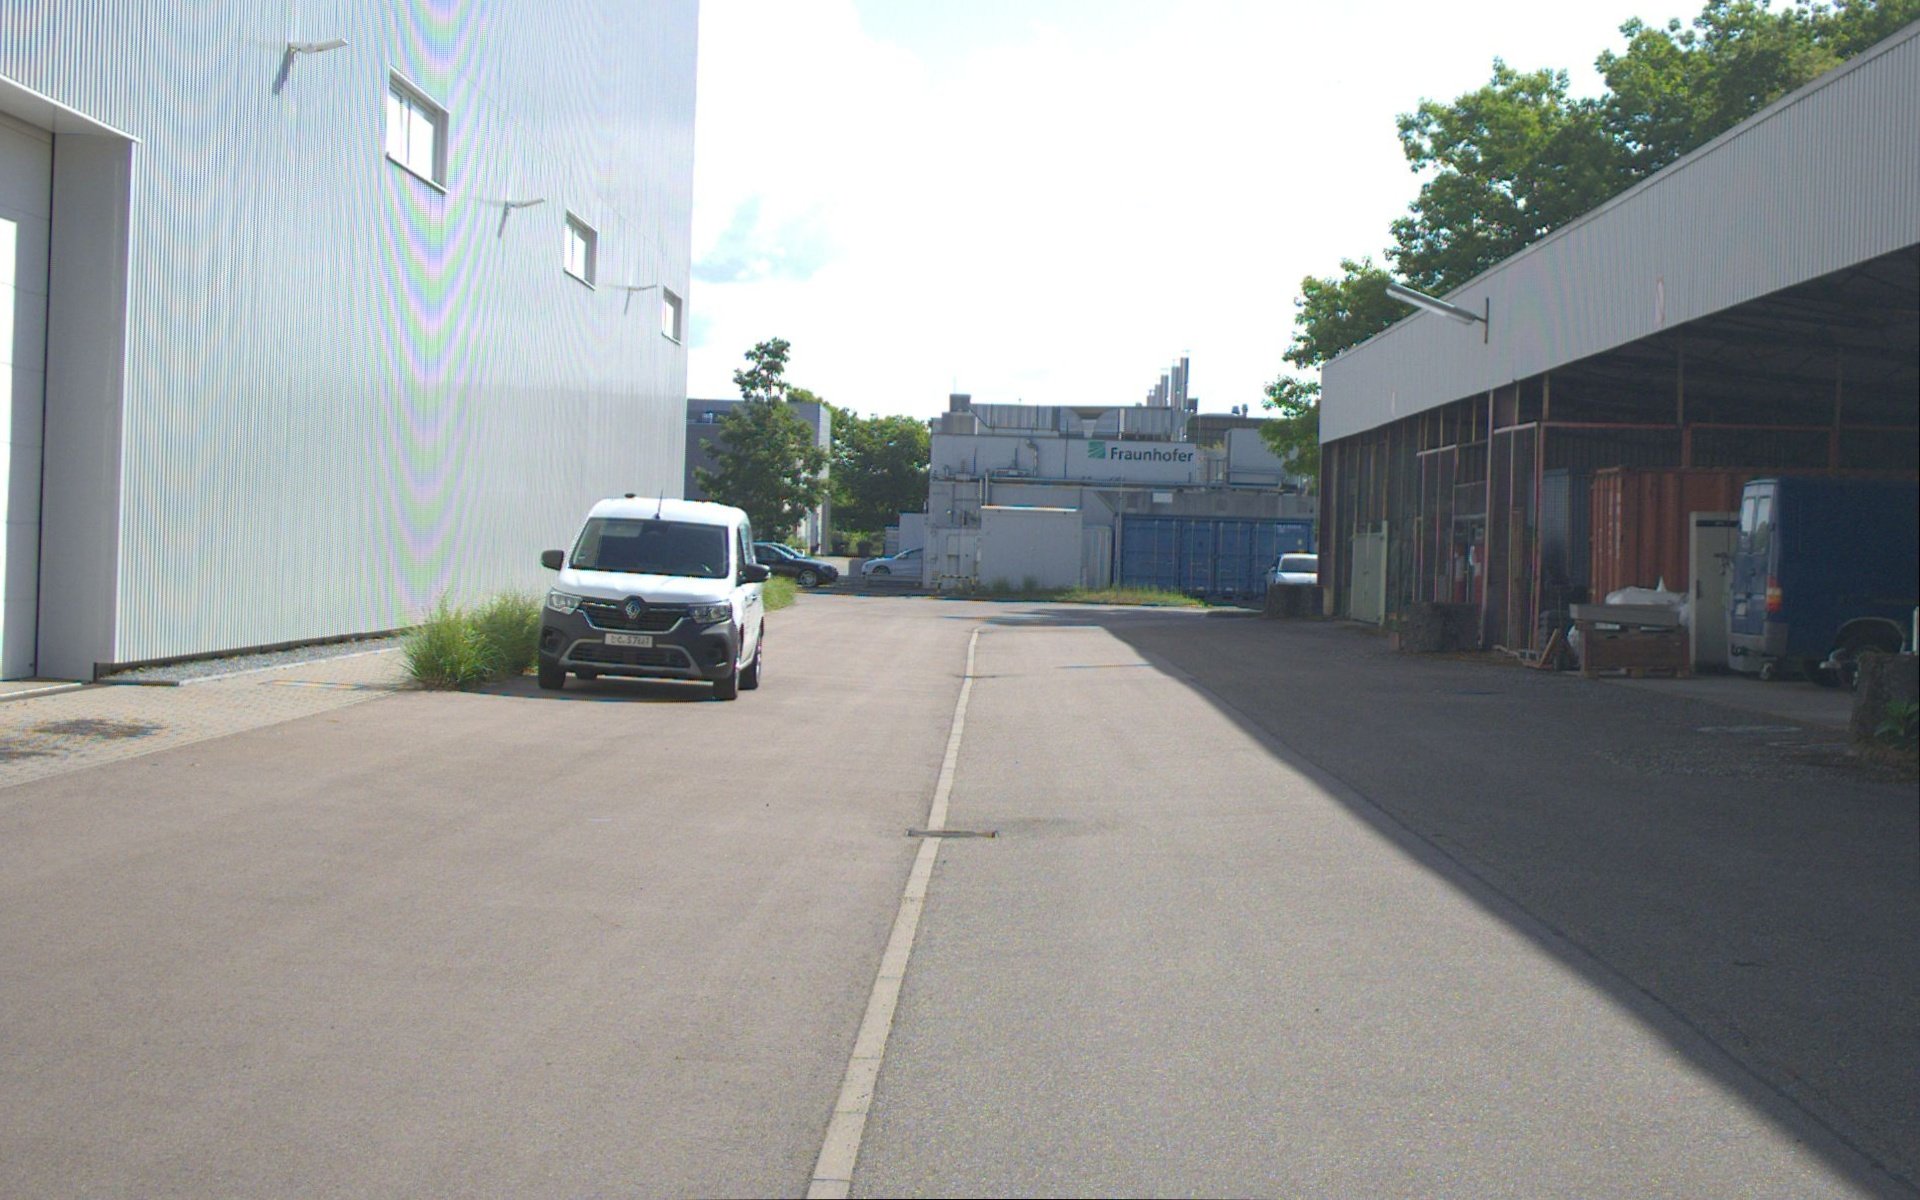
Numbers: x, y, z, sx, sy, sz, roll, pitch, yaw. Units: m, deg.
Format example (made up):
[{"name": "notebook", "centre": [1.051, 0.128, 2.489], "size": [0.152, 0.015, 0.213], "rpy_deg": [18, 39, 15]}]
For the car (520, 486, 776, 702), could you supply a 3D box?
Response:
[{"name": "car", "centre": [-2.843, -0.098, 32.256], "size": [1.819, 1.781, 4.405], "rpy_deg": [3, 1, 1]}]

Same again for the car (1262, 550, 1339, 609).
[{"name": "car", "centre": [10.068, -0.616, 101.824], "size": [1.962, 1.559, 4.059], "rpy_deg": [3, 1, 3]}]

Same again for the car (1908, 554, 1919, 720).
[{"name": "car", "centre": [10.775, 0.443, 30.809], "size": [4.038, 1.519, 1.684], "rpy_deg": [3, -1, 2]}]

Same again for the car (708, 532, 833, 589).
[{"name": "car", "centre": [-6.296, -1.303, 114.548], "size": [3.987, 1.592, 1.741], "rpy_deg": [3, -1, 0]}]

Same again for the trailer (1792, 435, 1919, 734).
[{"name": "trailer", "centre": [8.408, -0.091, 28.581], "size": [2.523, 2.390, 1.727], "rpy_deg": [2, 0, 2]}]

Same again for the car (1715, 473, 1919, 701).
[{"name": "car", "centre": [10.672, -0.049, 37.327], "size": [4.433, 2.302, 1.915], "rpy_deg": [3, -1, 2]}]

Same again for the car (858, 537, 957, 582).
[{"name": "car", "centre": [-2.178, -1.671, 142.354], "size": [3.987, 1.592, 1.848], "rpy_deg": [3, -1, 0]}]
